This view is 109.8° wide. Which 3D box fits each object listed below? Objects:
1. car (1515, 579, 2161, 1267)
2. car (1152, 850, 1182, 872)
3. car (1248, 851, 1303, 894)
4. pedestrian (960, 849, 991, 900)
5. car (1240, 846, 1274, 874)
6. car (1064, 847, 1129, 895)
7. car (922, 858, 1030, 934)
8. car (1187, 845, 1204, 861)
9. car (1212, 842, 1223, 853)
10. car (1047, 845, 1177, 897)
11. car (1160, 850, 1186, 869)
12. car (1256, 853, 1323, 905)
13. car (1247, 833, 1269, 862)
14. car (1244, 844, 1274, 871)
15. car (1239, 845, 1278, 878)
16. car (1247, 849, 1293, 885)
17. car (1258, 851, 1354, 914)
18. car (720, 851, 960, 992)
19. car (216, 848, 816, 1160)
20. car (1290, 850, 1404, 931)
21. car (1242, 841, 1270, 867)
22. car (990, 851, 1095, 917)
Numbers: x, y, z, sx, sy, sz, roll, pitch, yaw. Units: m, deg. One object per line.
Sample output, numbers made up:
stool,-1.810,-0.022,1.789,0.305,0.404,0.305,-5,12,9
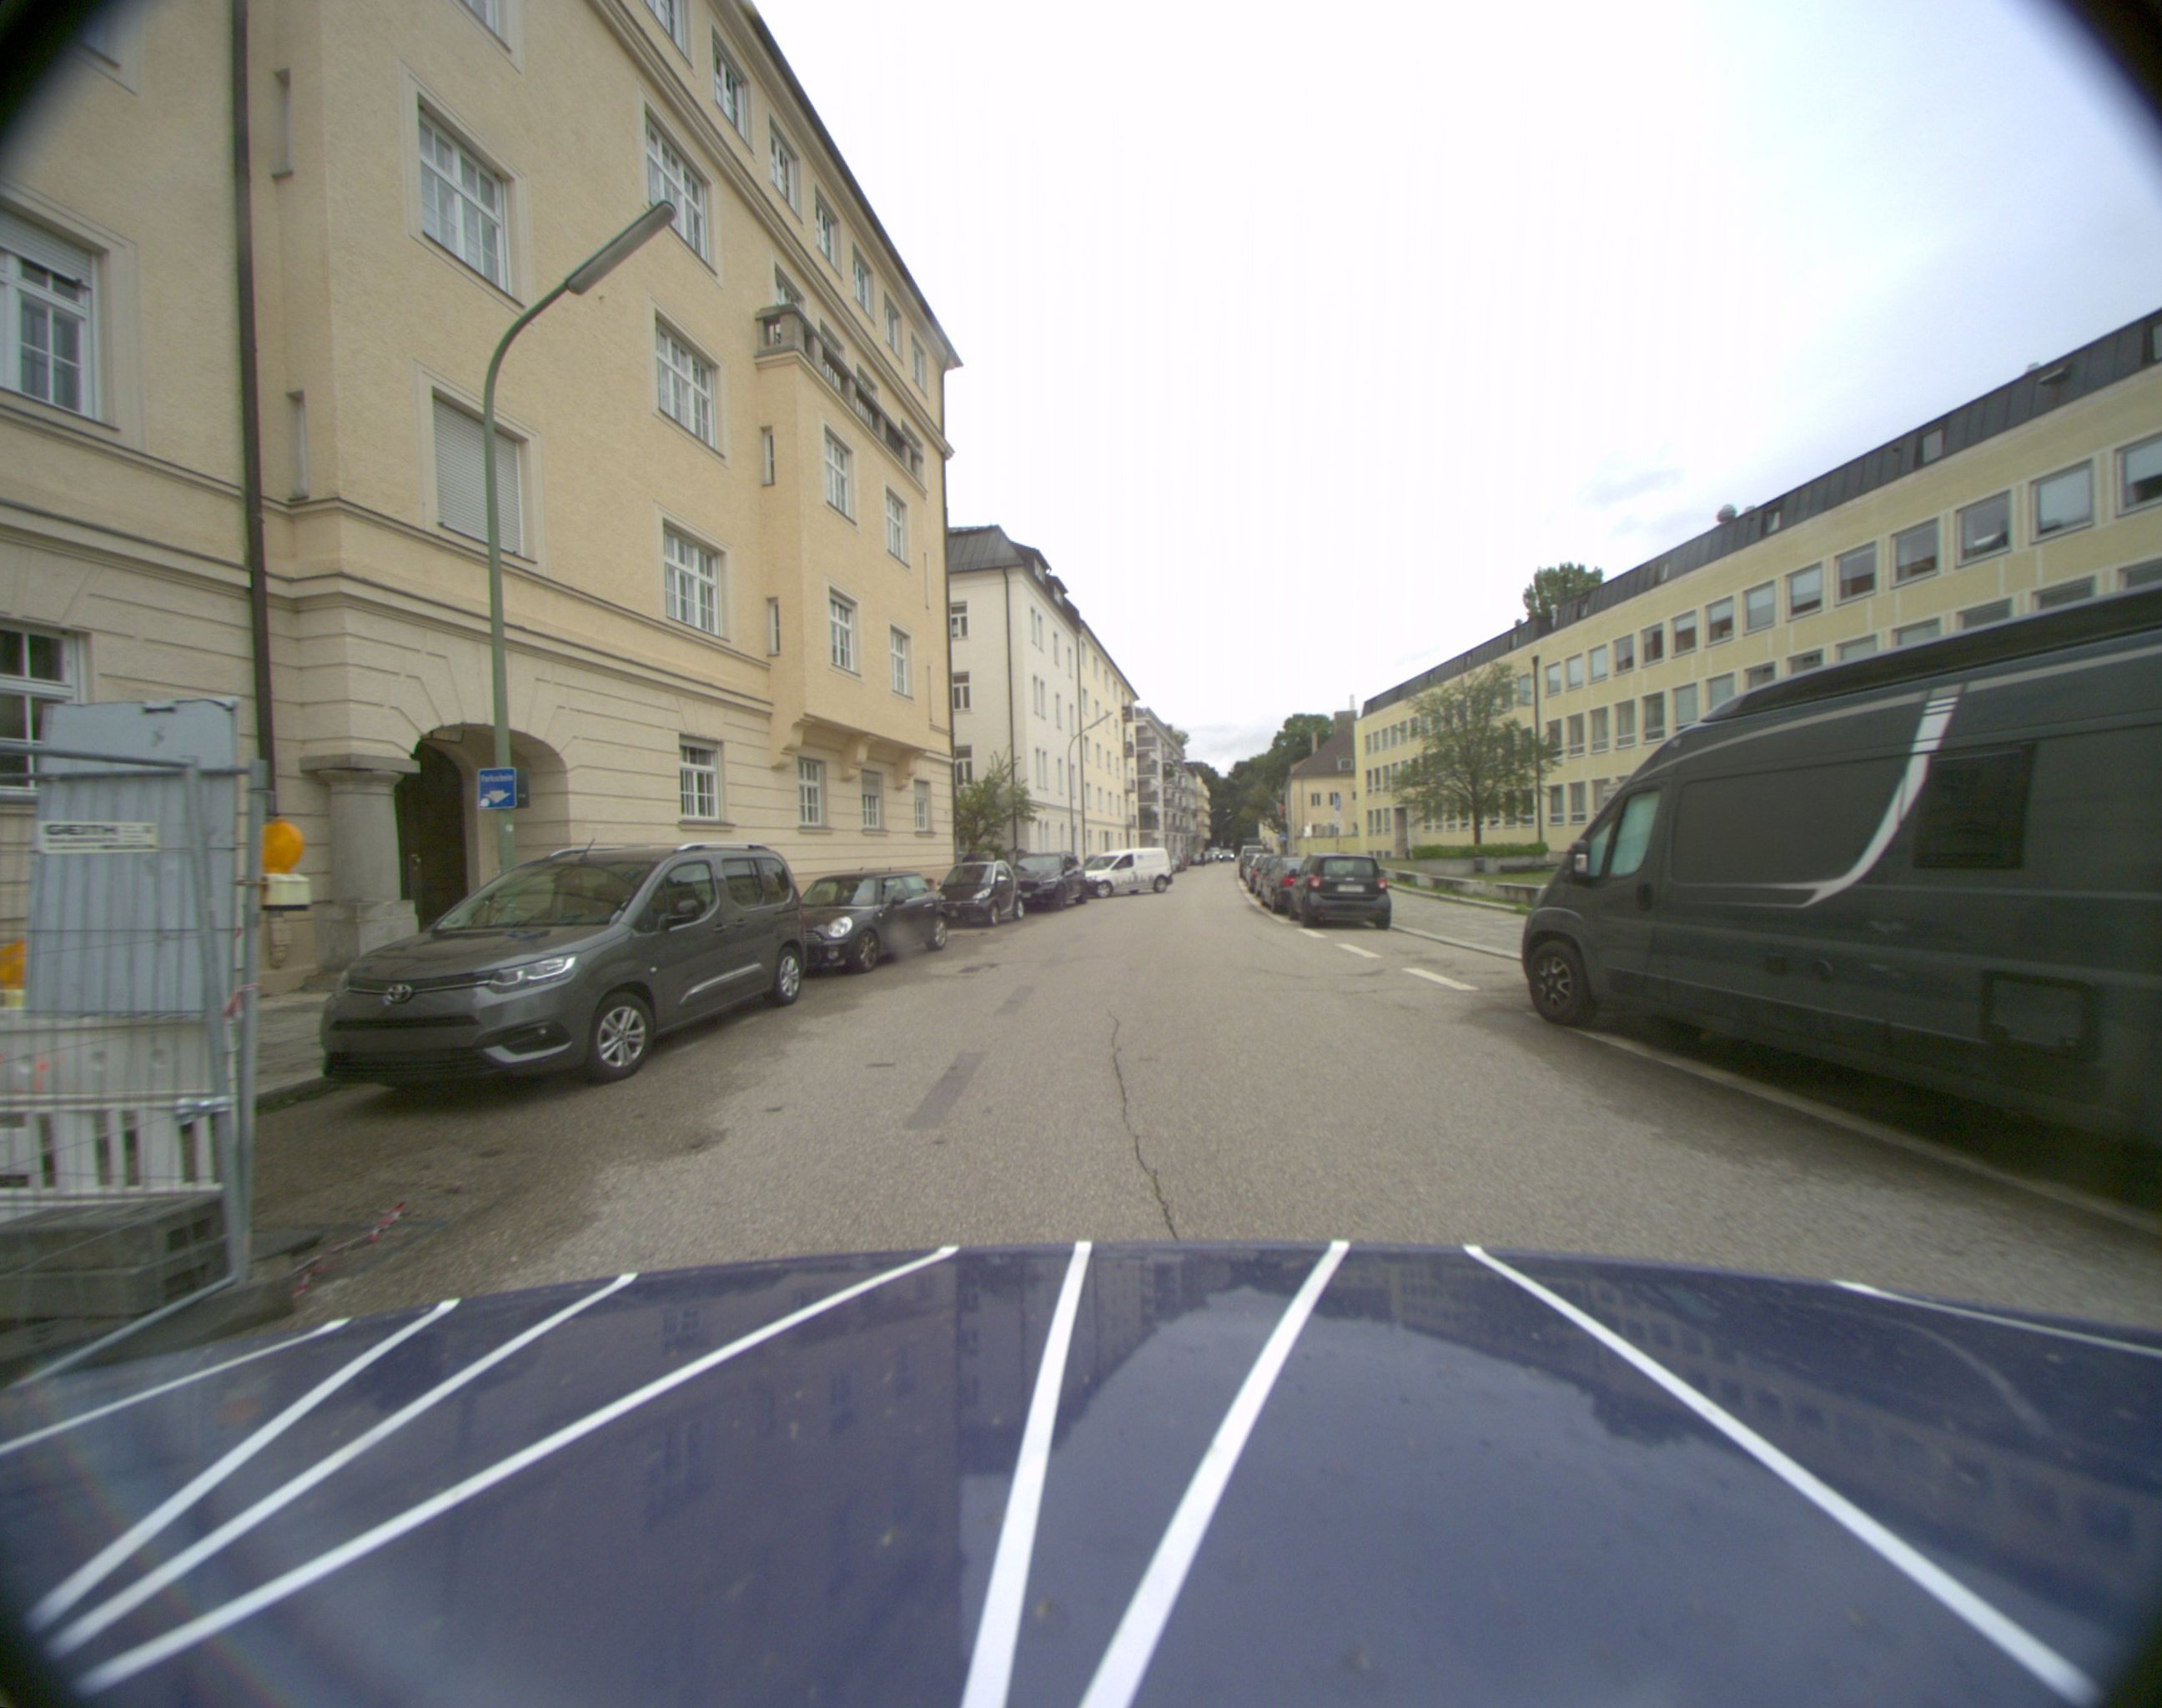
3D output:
car,5.073,0.242,3.819,2.149,2.559,6.210,0,1,-1
car,6.618,0.535,58.267,1.840,1.450,4.025,-3,1,11
car,7.450,0.647,29.411,1.724,1.473,4.207,0,1,10
pedestrian,-3.746,0.726,26.898,0.684,1.750,0.694,-3,2,44
car,10.391,0.349,45.101,1.743,1.459,3.688,-3,1,11
car,0.741,0.651,31.839,1.780,1.720,4.393,-3,1,12
car,-2.457,0.953,18.320,1.510,1.548,2.865,-3,1,14
car,13.751,-0.091,91.306,1.637,1.726,3.883,-3,1,12
car,22.782,-1.113,126.763,1.637,1.726,3.883,-3,1,12
car,1.250,0.578,29.264,4.934,1.762,1.880,-2,2,-38
car,7.649,0.421,63.149,1.741,1.367,4.025,-3,1,11
car,6.593,0.740,24.372,1.724,1.473,3.756,0,1,10
car,17.023,-0.691,73.146,1.996,2.702,4.963,-1,1,12
car,11.814,0.204,50.610,1.743,1.679,4.125,0,1,11
car,9.523,0.377,40.997,1.743,1.536,4.085,-3,1,10
car,8.573,0.545,34.750,1.724,1.521,4.002,0,1,10
car,5.699,0.641,19.703,1.724,1.356,4.214,1,1,7
car,-3.515,0.912,11.892,1.839,1.720,3.733,-3,1,12
car,-4.202,0.915,6.749,1.840,1.788,4.239,-4,1,4
car,5.367,0.676,15.674,1.670,1.451,2.869,1,1,8
car,13.841,-0.056,60.352,1.947,1.965,4.358,0,1,10
car,-1.033,0.840,23.326,1.931,1.719,4.692,-3,-1,12
